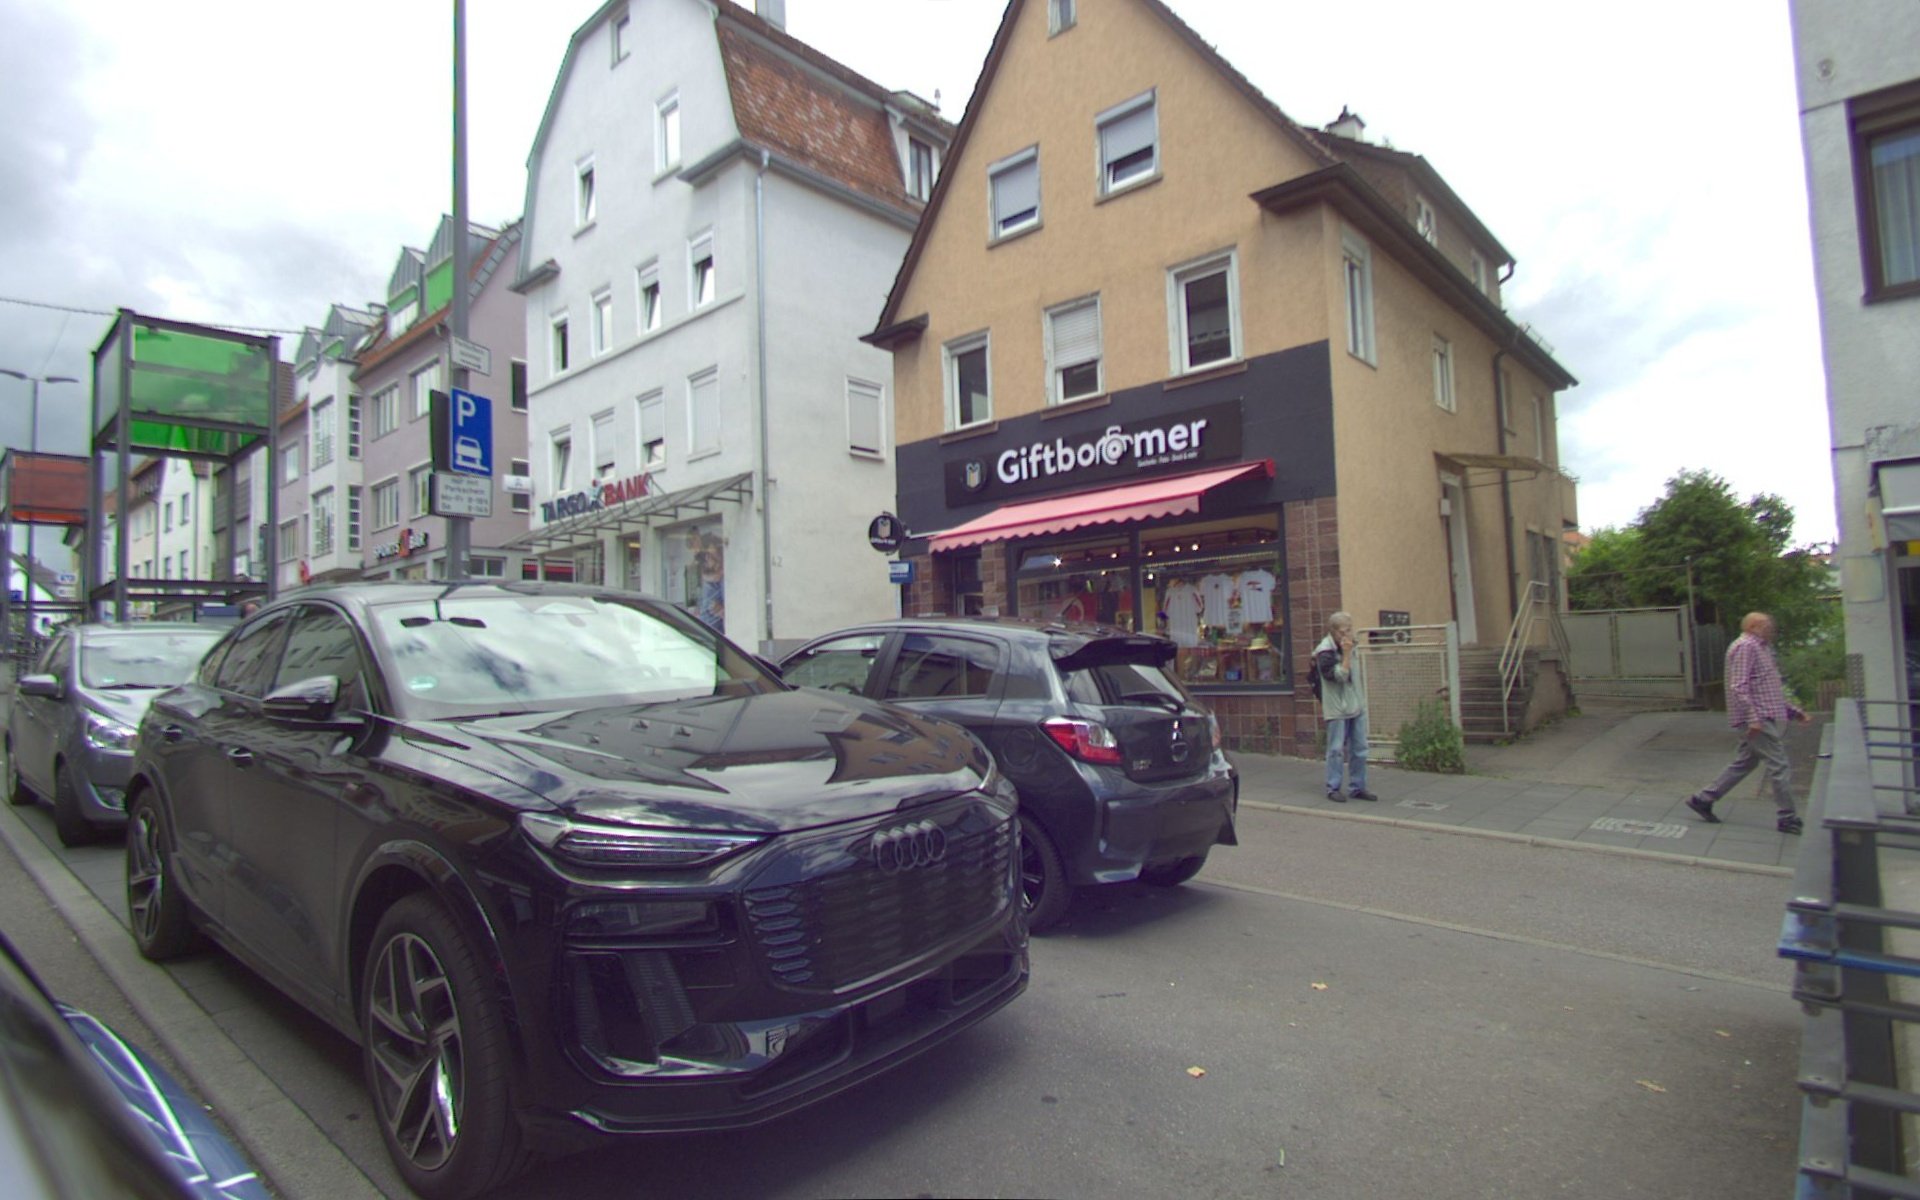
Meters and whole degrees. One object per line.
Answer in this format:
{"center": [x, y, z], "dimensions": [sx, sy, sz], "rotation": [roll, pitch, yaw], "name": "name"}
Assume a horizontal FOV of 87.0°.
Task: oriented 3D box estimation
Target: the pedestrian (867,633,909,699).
{"center": [-1.487, 1.349, 20.934], "dimensions": [0.607, 1.329, 0.619], "rotation": [-2, -2, 41], "name": "pedestrian"}

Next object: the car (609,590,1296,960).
{"center": [-0.226, 0.803, 6.026], "dimensions": [3.881, 1.487, 1.721], "rotation": [-1, -5, 40], "name": "car"}

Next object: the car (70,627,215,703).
{"center": [-17.464, 1.332, 21.577], "dimensions": [3.850, 1.486, 1.553], "rotation": [-1, -3, 38], "name": "car"}

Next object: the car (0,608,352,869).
{"center": [-6.273, 0.864, 7.888], "dimensions": [3.669, 1.544, 1.603], "rotation": [-1, -1, 41], "name": "car"}

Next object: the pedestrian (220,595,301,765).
{"center": [-7.293, 0.810, 10.547], "dimensions": [0.901, 1.685, 0.527], "rotation": [-3, -3, 44], "name": "pedestrian"}

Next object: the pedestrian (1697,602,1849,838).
{"center": [6.305, 0.887, 7.861], "dimensions": [0.632, 1.702, 0.828], "rotation": [3, -3, -44], "name": "pedestrian"}

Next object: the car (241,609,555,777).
{"center": [-6.451, 0.930, 11.429], "dimensions": [4.190, 1.555, 1.721], "rotation": [-1, -3, 40], "name": "car"}

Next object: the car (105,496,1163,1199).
{"center": [-1.612, 0.675, 3.929], "dimensions": [4.311, 1.652, 1.936], "rotation": [-1, -1, 40], "name": "car"}

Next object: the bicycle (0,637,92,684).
{"center": [-24.631, 1.621, 27.301], "dimensions": [0.459, 1.232, 1.760], "rotation": [-1, -3, 40], "name": "bicycle"}

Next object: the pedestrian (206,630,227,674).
{"center": [-29.928, 2.068, 40.736], "dimensions": [0.513, 1.729, 0.584], "rotation": [-1, -1, 41], "name": "pedestrian"}

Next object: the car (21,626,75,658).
{"center": [-48.380, 2.210, 53.671], "dimensions": [4.120, 1.583, 1.662], "rotation": [-1, -1, 41], "name": "car"}

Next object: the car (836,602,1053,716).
{"center": [-0.210, 1.041, 19.497], "dimensions": [1.883, 1.887, 4.026], "rotation": [-2, -1, 43], "name": "car"}

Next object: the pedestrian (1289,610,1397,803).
{"center": [3.505, 0.951, 9.304], "dimensions": [0.635, 1.702, 0.667], "rotation": [0, -3, -9], "name": "pedestrian"}
